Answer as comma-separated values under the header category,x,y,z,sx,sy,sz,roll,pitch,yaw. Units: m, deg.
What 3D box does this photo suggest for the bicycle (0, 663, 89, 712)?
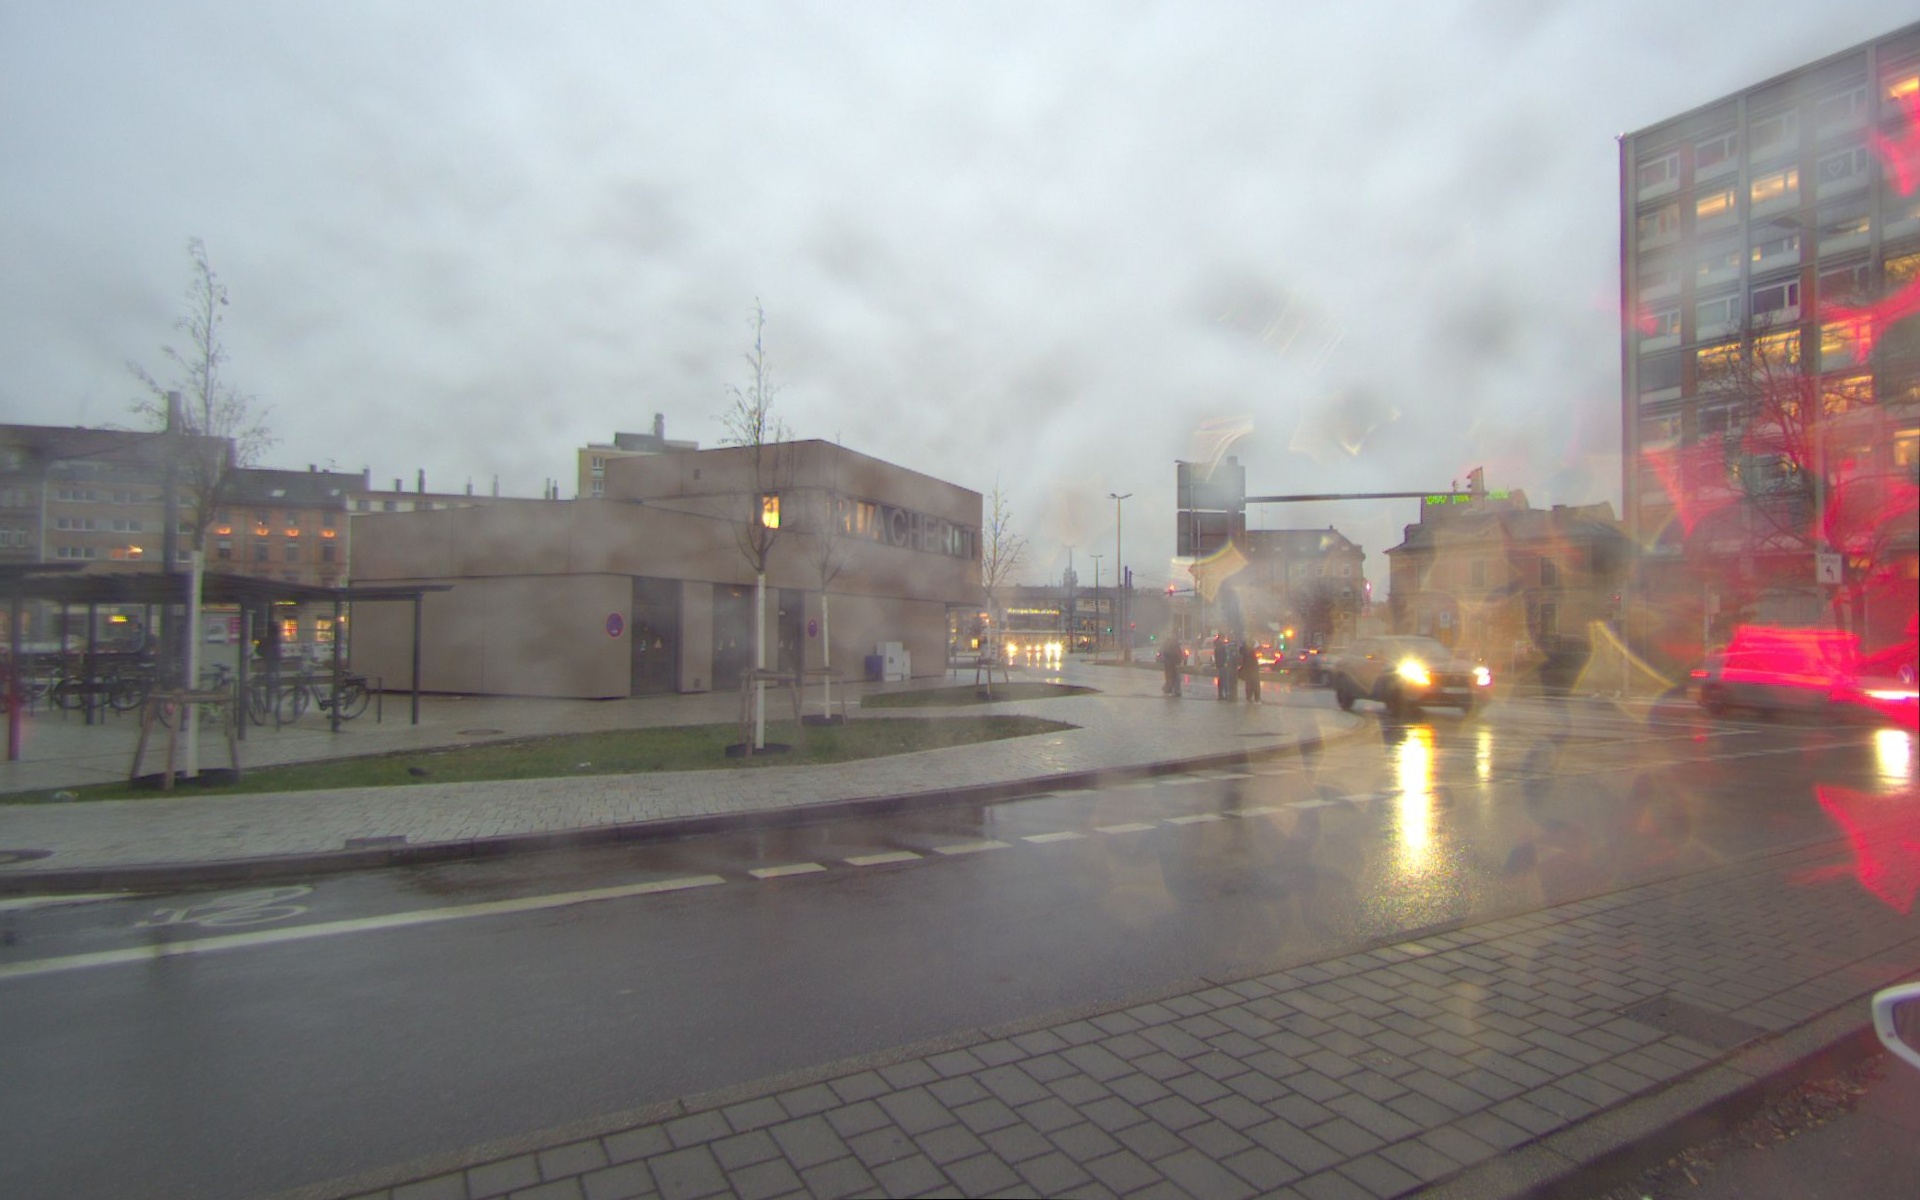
category,x,y,z,sx,sy,sz,roll,pitch,yaw
bicycle,-18.506,1.733,19.988,0.466,0.903,1.693,1,-2,24

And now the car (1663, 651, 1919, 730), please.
category,x,y,z,sx,sy,sz,roll,pitch,yaw
car,18.294,1.888,21.988,1.782,1.496,4.655,2,-3,-17

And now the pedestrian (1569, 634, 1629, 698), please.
category,x,y,z,sx,sy,sz,roll,pitch,yaw
pedestrian,19.708,2.019,30.992,1.116,1.867,1.005,-3,-2,4

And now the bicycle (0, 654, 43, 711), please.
category,x,y,z,sx,sy,sz,roll,pitch,yaw
bicycle,-19.392,1.632,19.837,0.466,1.122,1.797,1,-2,29

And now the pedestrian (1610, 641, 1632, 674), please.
category,x,y,z,sx,sy,sz,roll,pitch,yaw
pedestrian,33.706,2.924,51.210,0.548,1.649,0.760,0,-2,-15

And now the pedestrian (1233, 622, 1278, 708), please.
category,x,y,z,sx,sy,sz,roll,pitch,yaw
pedestrian,7.202,1.579,24.463,0.971,2.047,0.802,-1,-2,19

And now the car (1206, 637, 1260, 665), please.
category,x,y,z,sx,sy,sz,roll,pitch,yaw
car,19.624,3.657,72.351,3.514,1.850,1.672,2,0,8

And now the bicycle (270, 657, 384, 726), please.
category,x,y,z,sx,sy,sz,roll,pitch,yaw
bicycle,-11.748,1.675,18.718,0.605,1.172,1.755,1,-2,20

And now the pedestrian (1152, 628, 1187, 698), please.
category,x,y,z,sx,sy,sz,roll,pitch,yaw
pedestrian,5.675,1.693,27.200,0.665,1.863,0.733,0,-2,-13

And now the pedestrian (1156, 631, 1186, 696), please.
category,x,y,z,sx,sy,sz,roll,pitch,yaw
pedestrian,5.860,1.761,27.943,0.538,1.793,0.741,0,-2,-13

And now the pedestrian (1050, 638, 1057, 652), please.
category,x,y,z,sx,sy,sz,roll,pitch,yaw
pedestrian,14.248,6.874,152.841,0.960,2.040,0.920,-1,-2,11

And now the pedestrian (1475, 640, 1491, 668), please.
category,x,y,z,sx,sy,sz,roll,pitch,yaw
pedestrian,32.133,3.342,61.735,0.624,1.710,0.641,0,-2,1

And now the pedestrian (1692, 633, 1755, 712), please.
category,x,y,z,sx,sy,sz,roll,pitch,yaw
pedestrian,20.076,1.885,26.427,0.946,2.004,0.925,0,-2,-24

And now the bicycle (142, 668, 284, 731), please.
category,x,y,z,sx,sy,sz,roll,pitch,yaw
bicycle,-12.934,1.703,17.457,0.466,0.989,1.923,1,-2,29

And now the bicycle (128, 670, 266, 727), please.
category,x,y,z,sx,sy,sz,roll,pitch,yaw
bicycle,-13.584,1.737,17.950,0.466,0.903,1.923,1,-2,29

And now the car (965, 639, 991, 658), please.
category,x,y,z,sx,sy,sz,roll,pitch,yaw
car,1.504,4.180,86.664,1.649,1.598,3.420,0,-2,-9

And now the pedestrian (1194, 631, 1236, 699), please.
category,x,y,z,sx,sy,sz,roll,pitch,yaw
pedestrian,6.749,1.711,26.610,0.838,1.778,0.659,0,-2,-14

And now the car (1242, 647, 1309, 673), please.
category,x,y,z,sx,sy,sz,roll,pitch,yaw
car,20.092,3.808,63.976,3.741,1.502,1.602,2,0,-1

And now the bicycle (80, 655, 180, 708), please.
category,x,y,z,sx,sy,sz,roll,pitch,yaw
bicycle,-17.685,1.710,21.431,0.511,1.050,1.573,1,-2,19

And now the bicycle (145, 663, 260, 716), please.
category,x,y,z,sx,sy,sz,roll,pitch,yaw
bicycle,-15.178,1.778,20.173,0.466,0.968,1.767,1,-2,29

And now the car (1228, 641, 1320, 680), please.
category,x,y,z,sx,sy,sz,roll,pitch,yaw
car,12.866,2.454,41.461,1.778,1.496,4.666,1,-3,-8

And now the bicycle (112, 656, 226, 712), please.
category,x,y,z,sx,sy,sz,roll,pitch,yaw
bicycle,-16.528,1.736,21.037,0.466,1.087,1.830,1,-2,26

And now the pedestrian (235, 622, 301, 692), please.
category,x,y,z,sx,sy,sz,roll,pitch,yaw
pedestrian,-18.075,1.475,26.247,0.993,1.787,1.066,-2,-2,25

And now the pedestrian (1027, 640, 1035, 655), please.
category,x,y,z,sx,sy,sz,roll,pitch,yaw
pedestrian,9.666,6.434,136.367,0.960,2.040,0.920,-1,-2,11

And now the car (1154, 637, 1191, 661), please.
category,x,y,z,sx,sy,sz,roll,pitch,yaw
car,15.934,3.671,75.464,1.791,1.589,4.000,2,0,-1

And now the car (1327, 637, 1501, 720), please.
category,x,y,z,sx,sy,sz,roll,pitch,yaw
car,9.647,1.630,21.728,1.741,1.598,3.999,0,-2,-3

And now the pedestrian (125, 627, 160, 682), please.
category,x,y,z,sx,sy,sz,roll,pitch,yaw
pedestrian,-25.619,1.698,31.475,0.519,1.688,0.699,-2,-2,34
